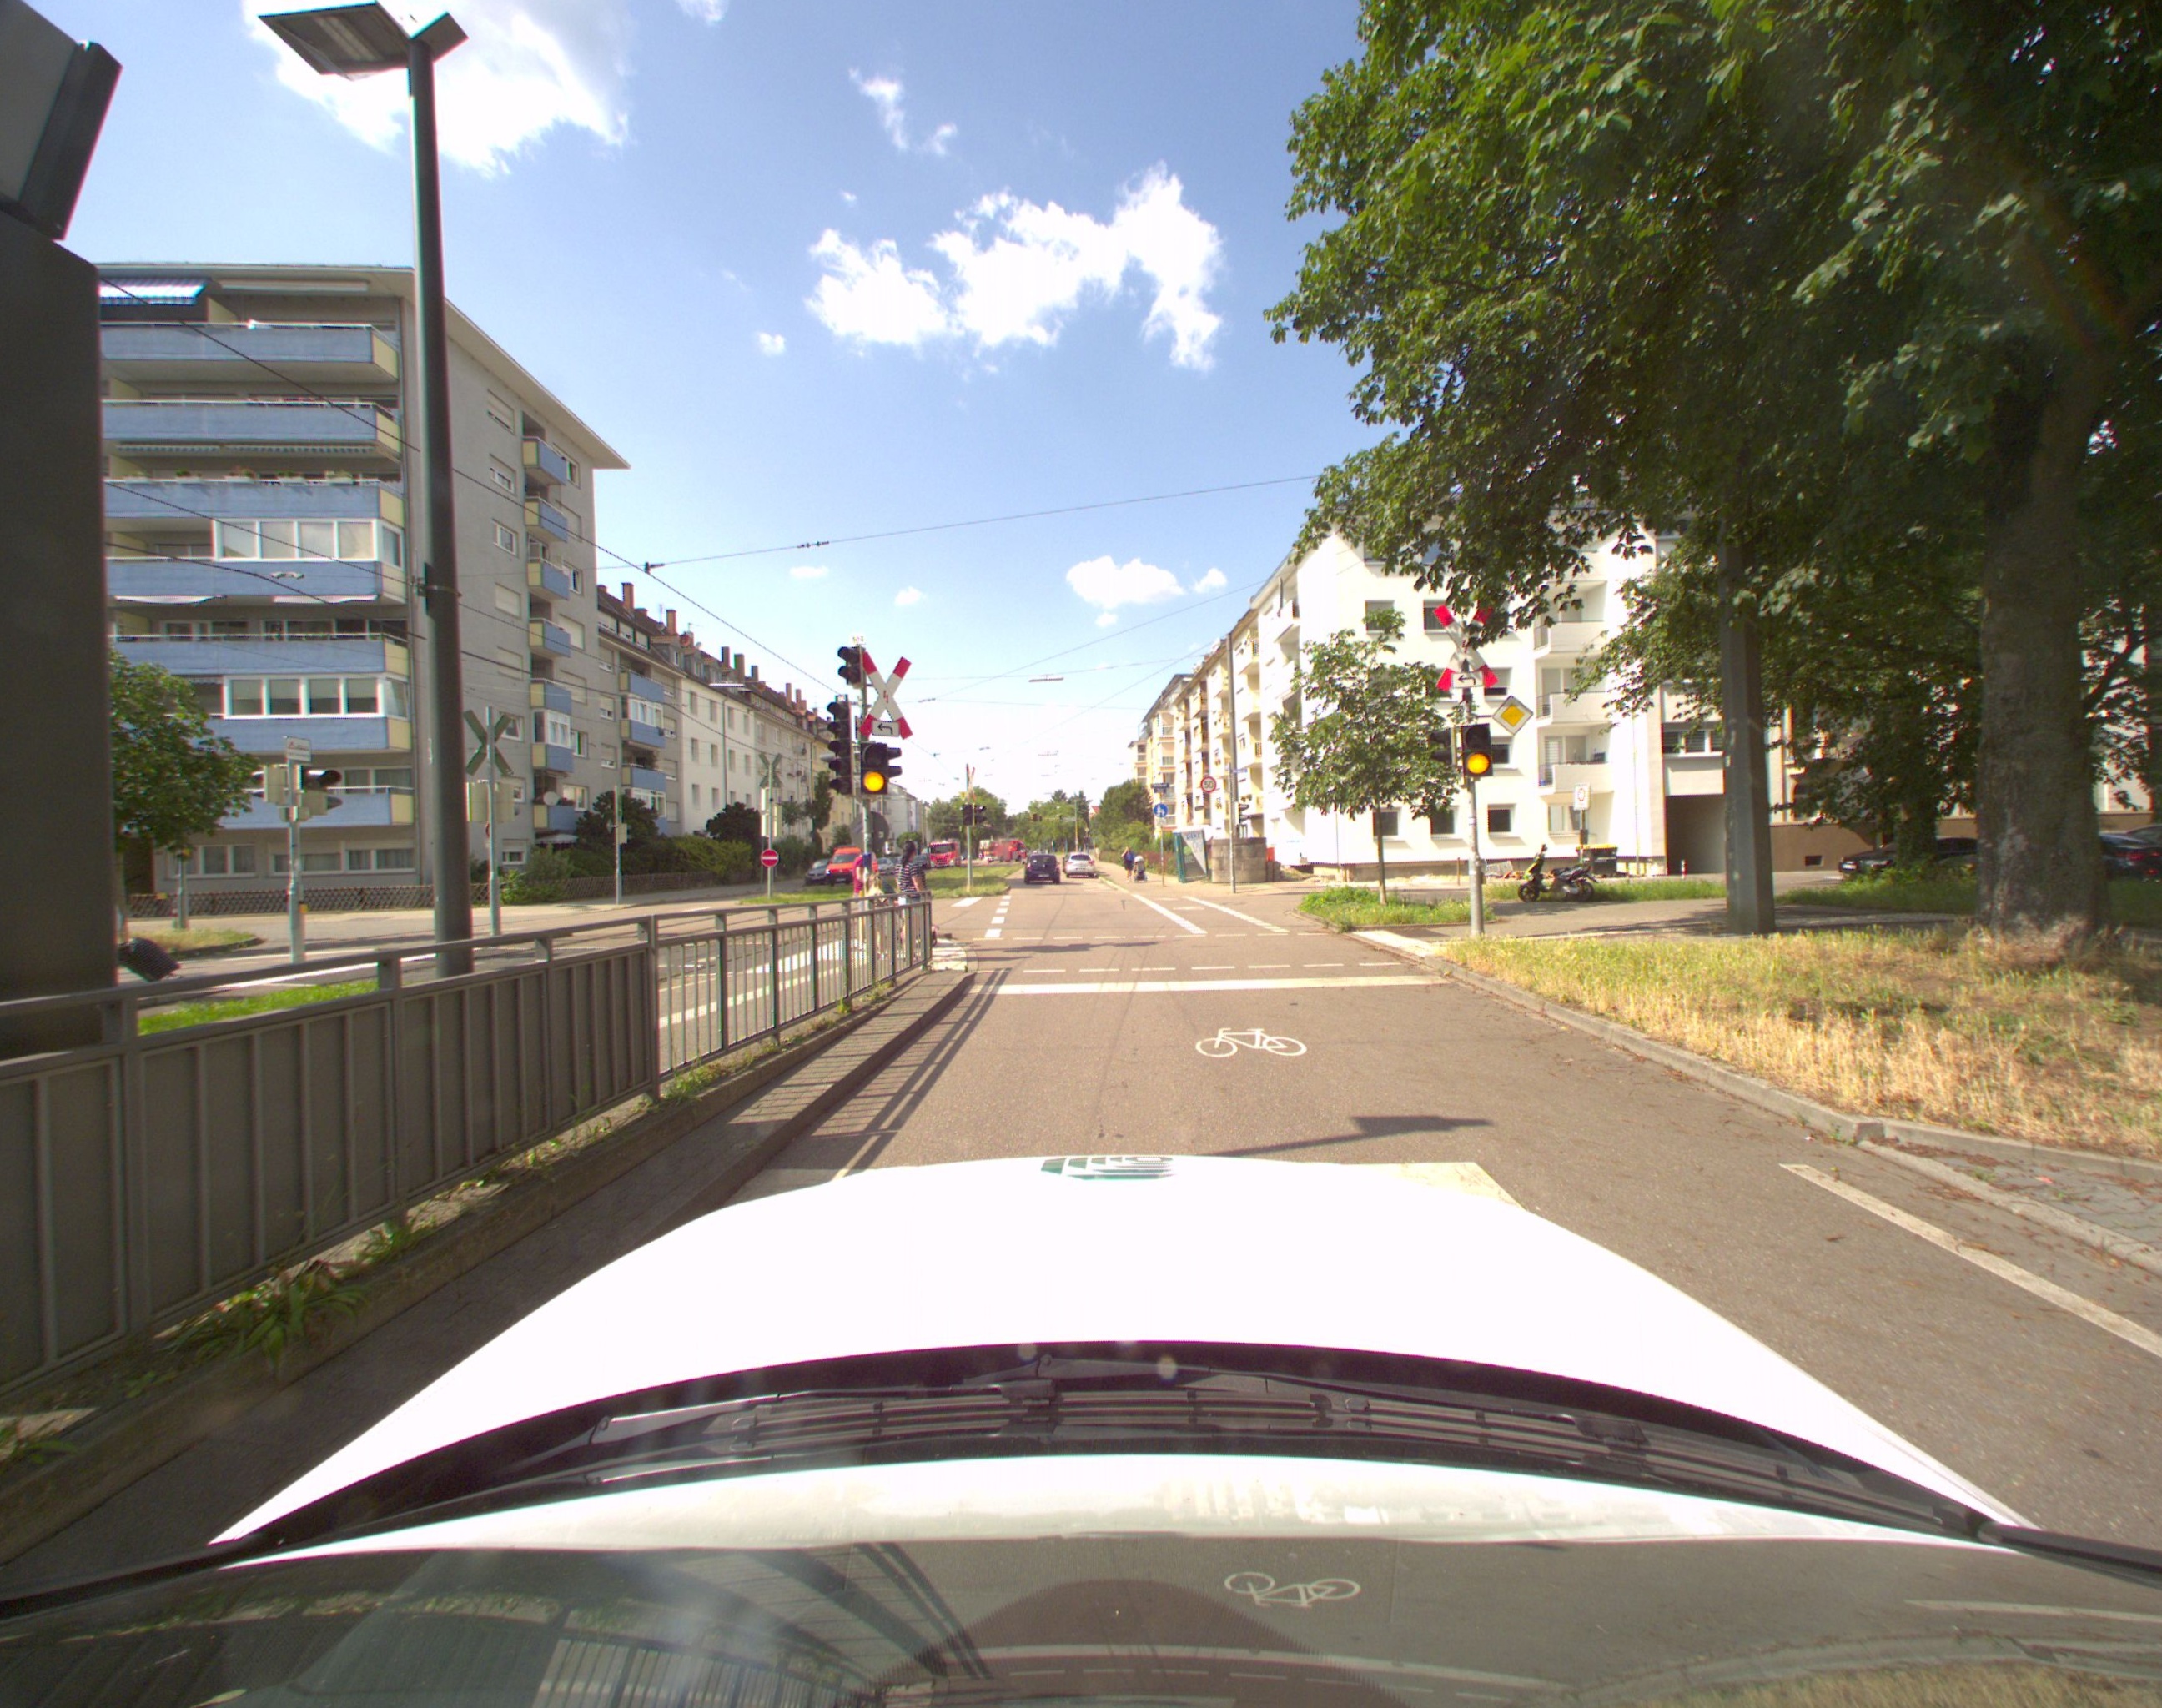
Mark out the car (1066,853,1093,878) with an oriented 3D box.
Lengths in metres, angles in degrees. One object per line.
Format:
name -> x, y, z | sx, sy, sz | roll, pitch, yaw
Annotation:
car -> -0.085, 0.672, 49.983 | 1.617, 1.465, 3.509 | 0, 0, -1

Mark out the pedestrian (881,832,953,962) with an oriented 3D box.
pedestrian -> -2.258, 0.563, 11.151 | 0.847, 1.667, 0.794 | -2, -1, -17

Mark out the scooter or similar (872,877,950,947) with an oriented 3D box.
scooter or similar -> -2.670, 0.904, 12.859 | 1.097, 1.056, 0.650 | 0, 0, -2

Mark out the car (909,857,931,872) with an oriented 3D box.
car -> -17.302, 1.108, 87.410 | 1.772, 1.557, 3.995 | 0, 0, -3

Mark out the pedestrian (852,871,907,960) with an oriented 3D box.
pedestrian -> -2.885, 0.850, 11.608 | 0.639, 1.180, 0.793 | -2, -1, -20

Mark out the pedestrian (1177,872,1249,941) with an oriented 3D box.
pedestrian -> 4.218, 1.627, 26.601 | 1.985, 2.014, 4.004 | 0, 0, 4

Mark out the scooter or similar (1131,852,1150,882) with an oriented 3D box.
scooter or similar -> 2.742, 0.571, 37.481 | 0.660, 1.303, 0.868 | -5, 0, -2

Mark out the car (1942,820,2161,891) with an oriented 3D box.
car -> 23.205, 0.002, 19.136 | 1.733, 1.459, 4.001 | -2, 0, 1

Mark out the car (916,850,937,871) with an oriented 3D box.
car -> -17.762, 0.709, 93.732 | 1.772, 2.399, 4.689 | 0, 0, -3

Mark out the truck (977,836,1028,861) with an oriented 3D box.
truck -> -11.509, -0.740, 120.986 | 2.642, 3.470, 10.227 | 0, 0, 26

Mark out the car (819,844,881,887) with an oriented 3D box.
car -> -13.112, 0.607, 46.555 | 1.986, 2.275, 4.834 | -2, 0, 1

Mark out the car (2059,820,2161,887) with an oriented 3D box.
car -> 26.012, -0.044, 19.099 | 1.794, 1.539, 4.013 | -2, 0, 11

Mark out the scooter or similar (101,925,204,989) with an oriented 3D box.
scooter or similar -> -11.505, 1.265, 10.107 | 0.441, 0.698, 0.701 | -2, 0, 3

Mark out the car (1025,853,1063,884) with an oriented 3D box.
car -> -1.835, 0.693, 41.217 | 1.738, 1.507, 3.999 | 0, 0, -1

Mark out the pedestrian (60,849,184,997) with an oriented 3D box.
pedestrian -> -11.256, 0.788, 9.575 | 0.657, 1.664, 0.633 | -2, 0, 3

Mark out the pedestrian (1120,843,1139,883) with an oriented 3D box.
pedestrian -> 2.299, 0.405, 38.351 | 0.699, 1.789, 1.030 | -5, 0, 0

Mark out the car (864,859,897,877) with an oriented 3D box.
car -> -16.341, 1.145, 66.504 | 1.763, 1.441, 3.997 | 0, 0, -2

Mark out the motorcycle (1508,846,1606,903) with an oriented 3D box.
motorcycle -> 11.024, 0.483, 18.931 | 0.574, 1.215, 1.829 | -7, 1, -30

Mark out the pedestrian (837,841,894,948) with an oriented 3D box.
pedestrian -> -3.383, 0.621, 12.832 | 0.703, 1.648, 0.636 | 0, -1, -1

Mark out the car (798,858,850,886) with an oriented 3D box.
car -> -15.884, 1.089, 50.507 | 1.987, 1.645, 3.999 | 0, 0, 0

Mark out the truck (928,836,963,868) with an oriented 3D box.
truck -> -14.570, -0.195, 88.136 | 2.589, 3.185, 8.376 | -2, 0, -2
